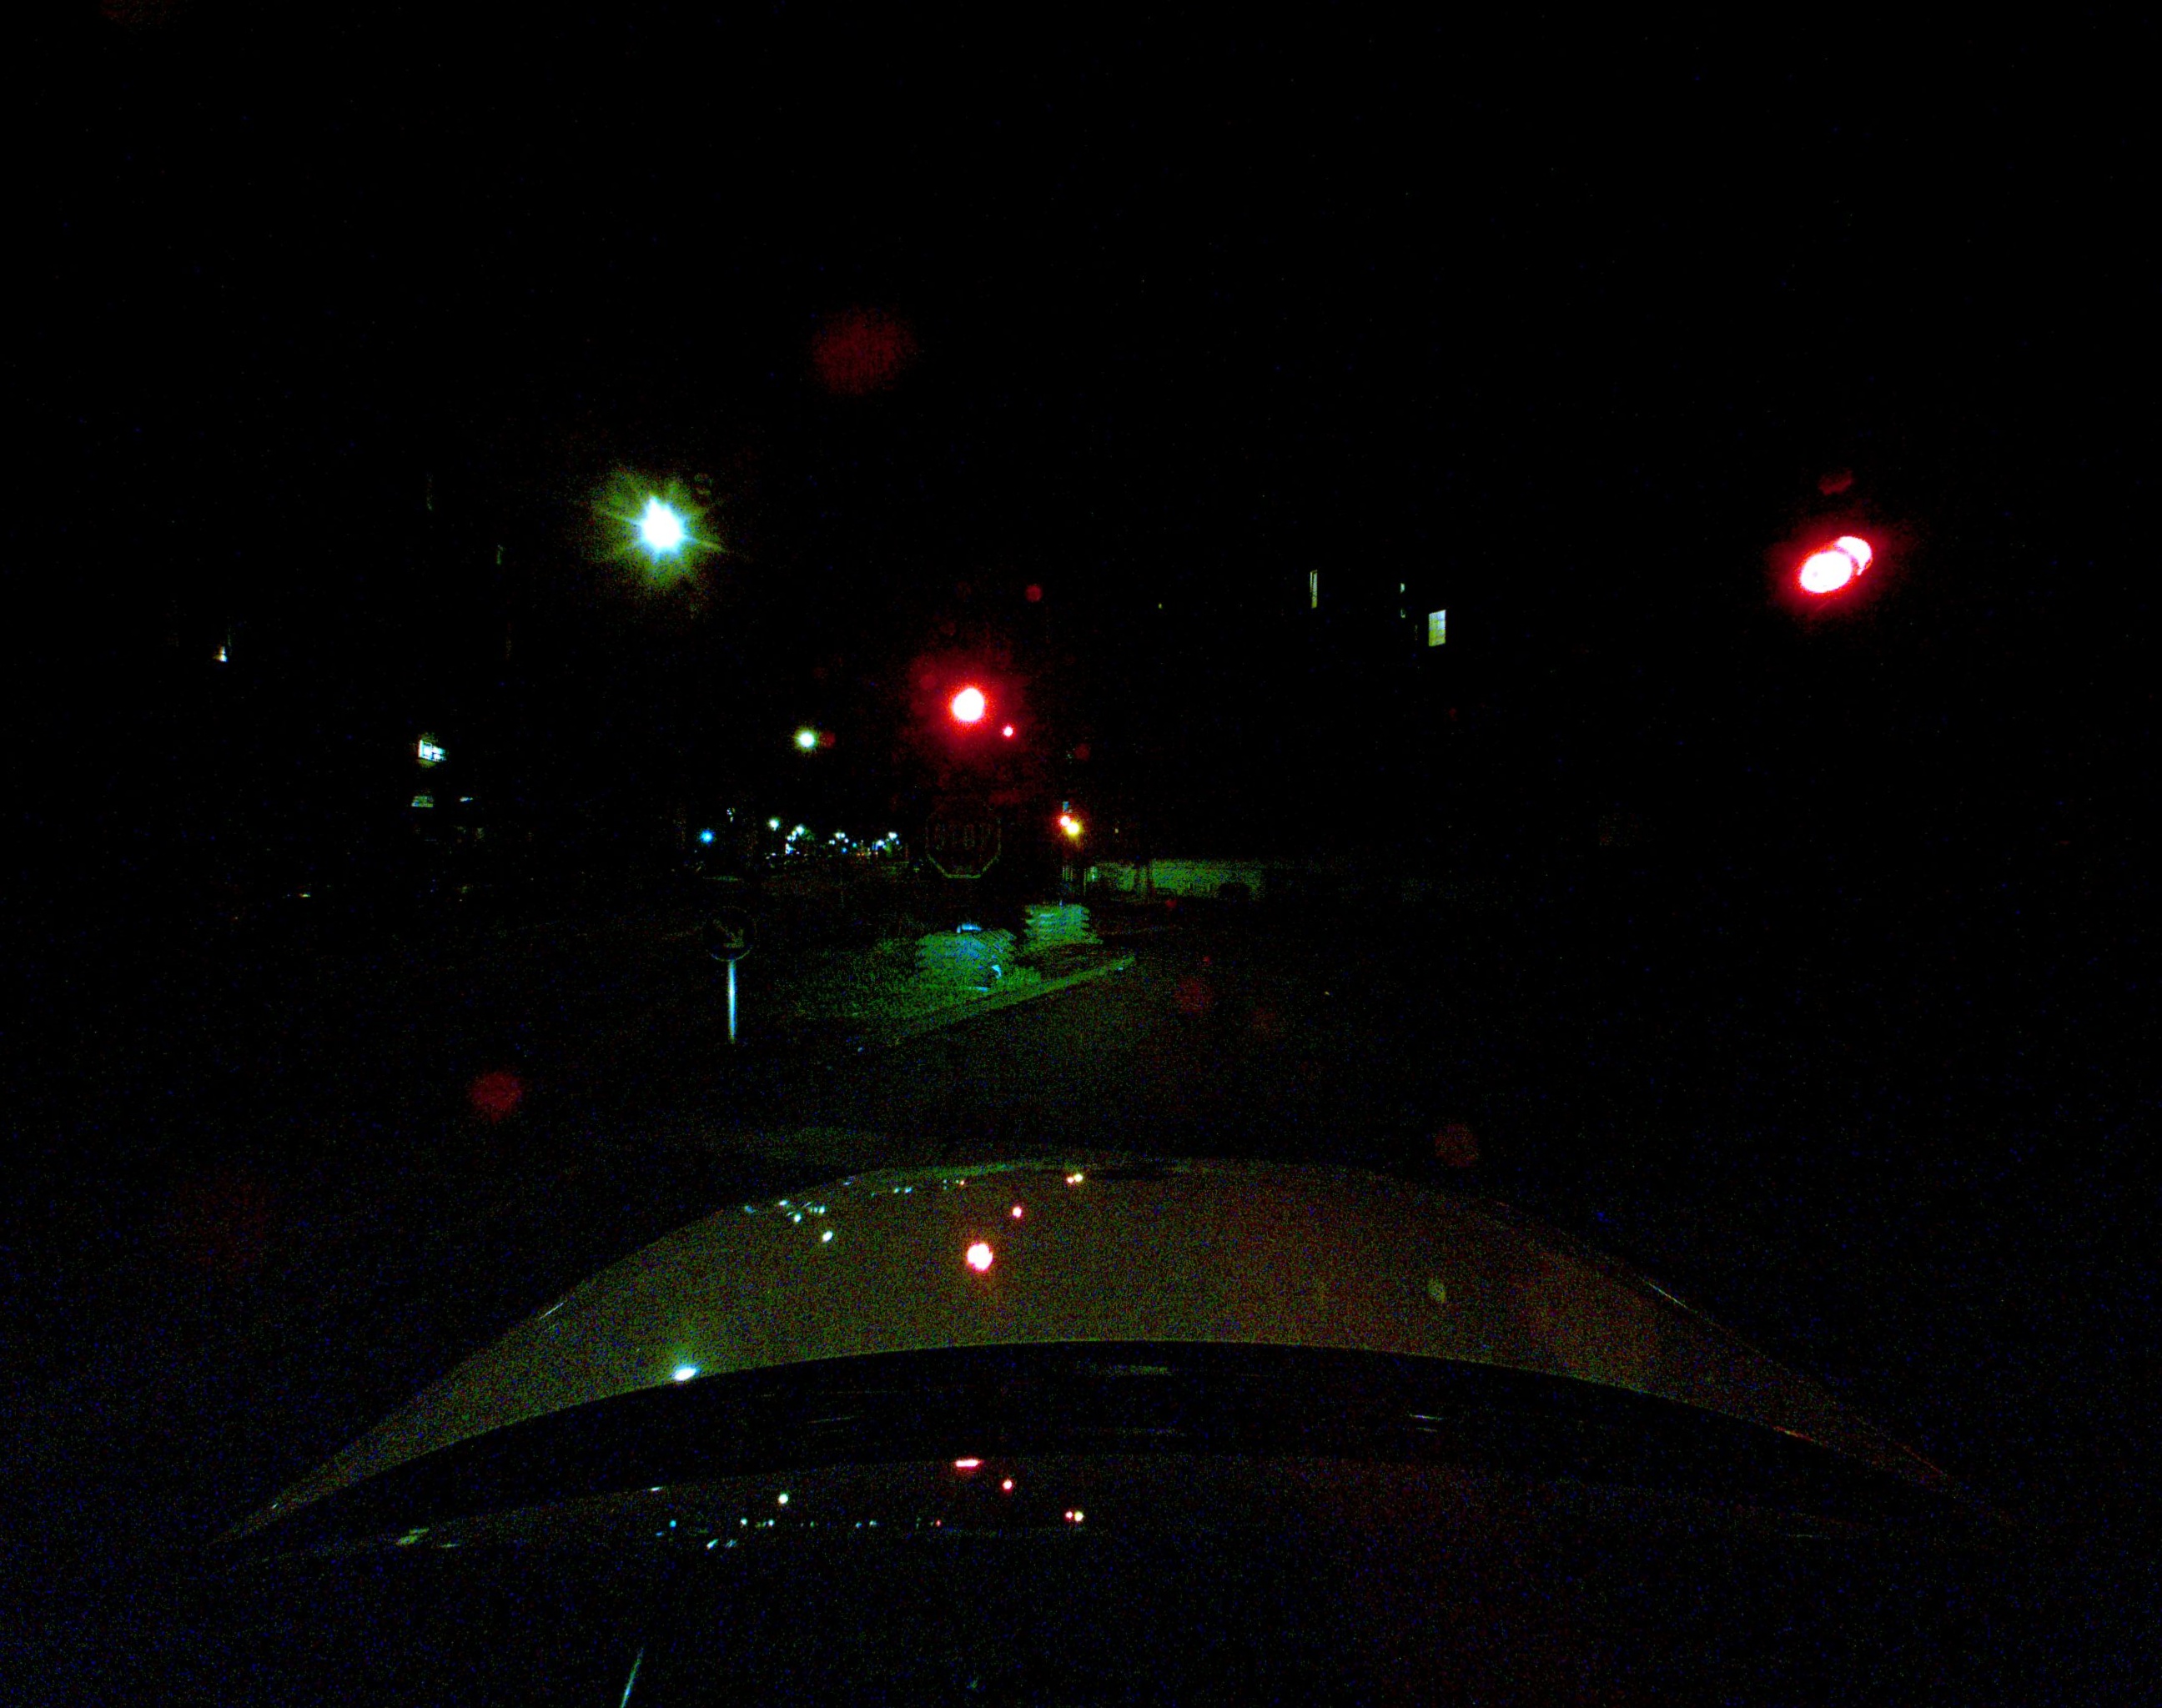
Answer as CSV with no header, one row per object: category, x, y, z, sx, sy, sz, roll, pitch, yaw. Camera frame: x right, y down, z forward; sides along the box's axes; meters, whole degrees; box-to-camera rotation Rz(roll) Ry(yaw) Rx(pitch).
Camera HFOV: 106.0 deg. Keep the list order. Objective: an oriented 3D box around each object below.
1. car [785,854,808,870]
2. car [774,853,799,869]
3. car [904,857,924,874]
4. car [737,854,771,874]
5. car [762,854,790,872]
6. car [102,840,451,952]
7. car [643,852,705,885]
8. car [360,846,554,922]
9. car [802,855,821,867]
car,-27.892,0.771,79.851,1.653,1.431,3.982,1,0,-13
car,-26.489,0.628,73.369,1.653,1.431,3.982,1,0,-13
car,-14.865,1.027,72.429,1.652,1.431,3.984,1,0,-12
car,-23.739,0.727,59.251,1.653,1.431,3.982,1,0,-13
car,-25.183,0.706,67.297,1.653,1.431,3.982,1,0,-13
car,-12.601,0.580,13.279,1.901,1.471,4.432,3,0,-13
car,-18.993,0.661,38.179,1.653,1.431,3.982,1,0,-13
car,-13.644,0.613,18.171,1.806,1.481,4.302,1,-1,-14
car,-30.855,0.790,93.203,1.653,1.431,3.982,1,0,-13
